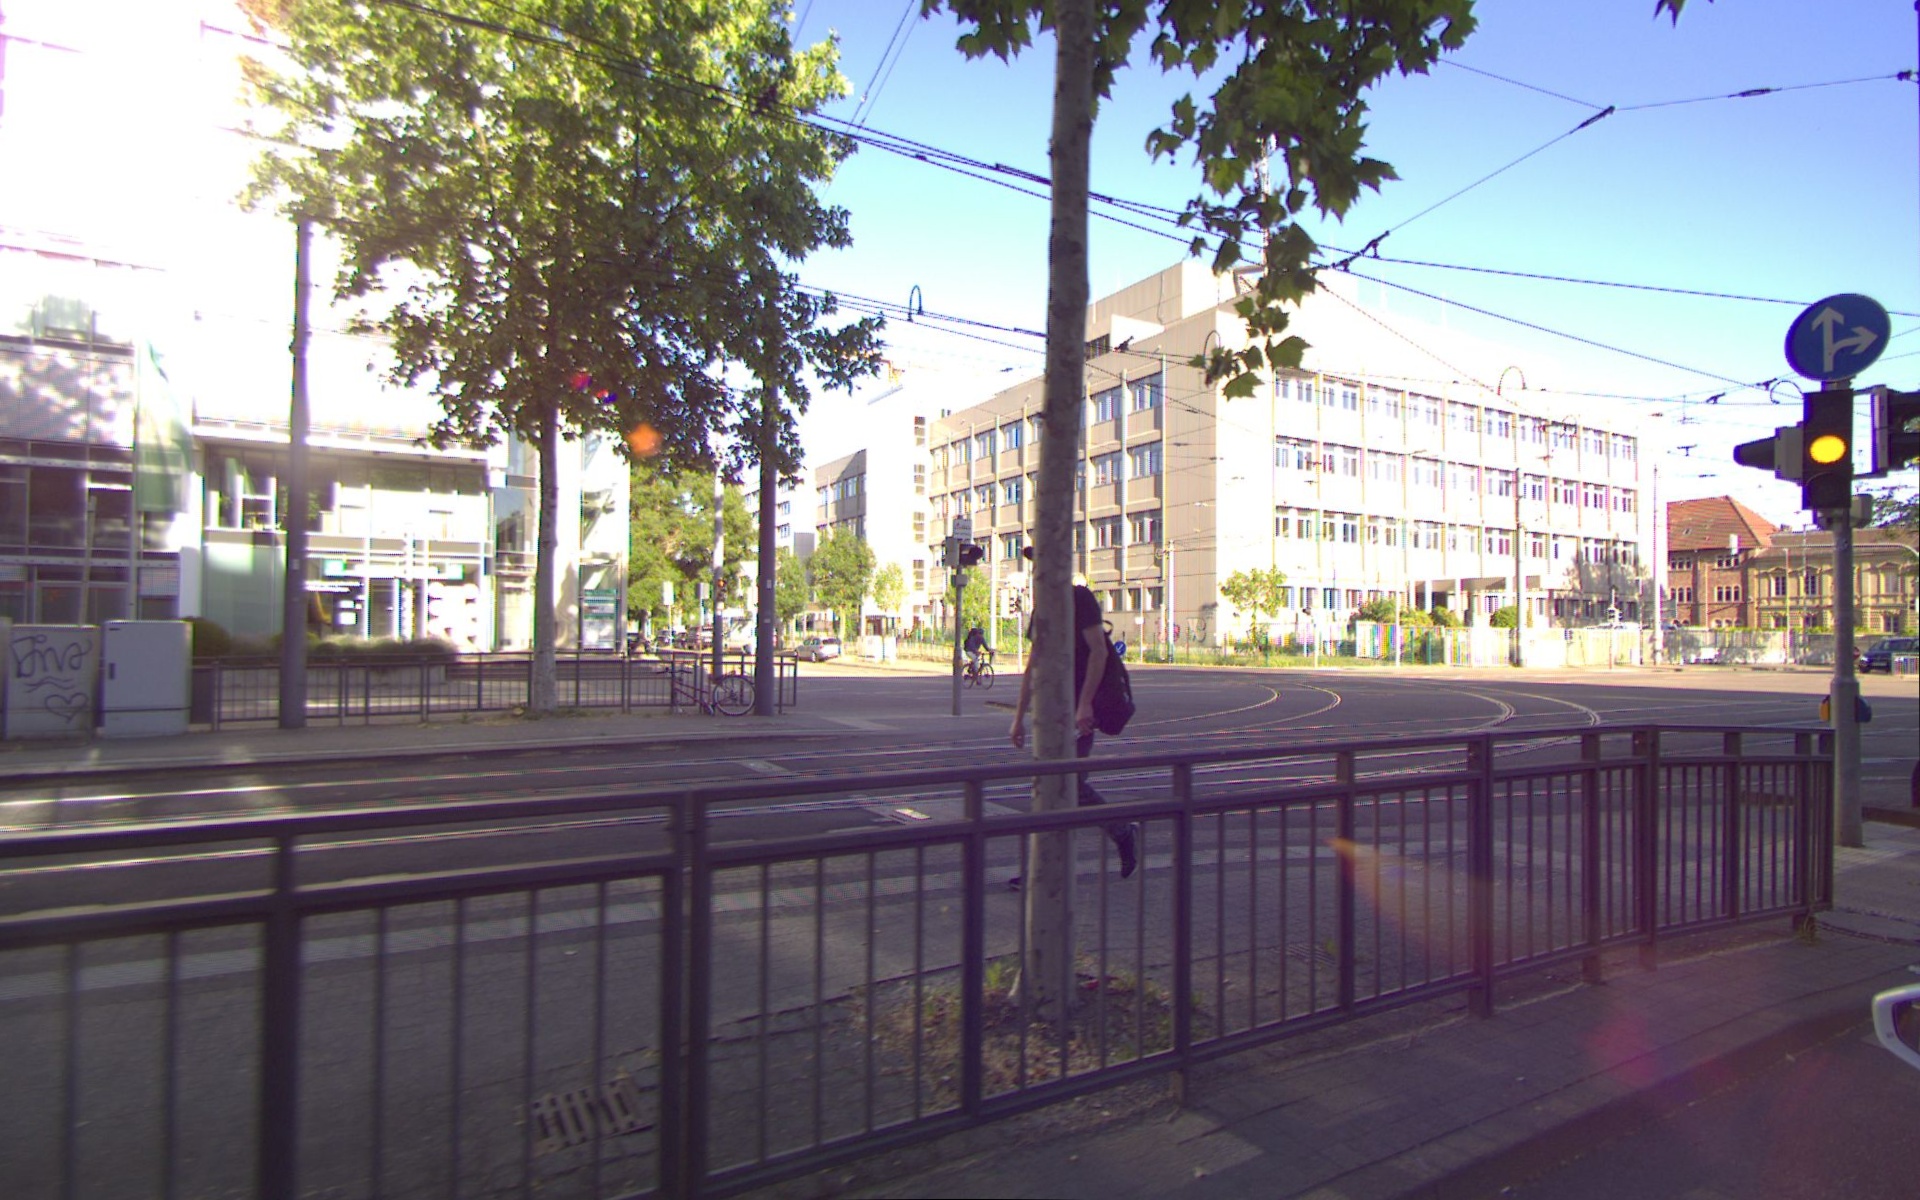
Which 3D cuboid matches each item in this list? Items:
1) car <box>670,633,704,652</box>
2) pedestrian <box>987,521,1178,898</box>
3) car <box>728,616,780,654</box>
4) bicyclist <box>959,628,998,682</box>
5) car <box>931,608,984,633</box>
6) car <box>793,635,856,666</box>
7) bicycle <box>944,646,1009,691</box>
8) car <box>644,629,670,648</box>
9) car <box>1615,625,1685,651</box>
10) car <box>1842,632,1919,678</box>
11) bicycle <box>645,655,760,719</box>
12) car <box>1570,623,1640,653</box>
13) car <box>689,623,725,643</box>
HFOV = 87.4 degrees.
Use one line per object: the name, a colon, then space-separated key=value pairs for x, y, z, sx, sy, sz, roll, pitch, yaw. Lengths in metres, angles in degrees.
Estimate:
car: x=-23.519 y=3.624 z=86.340 sx=1.735 sy=1.579 sz=3.915 roll=2 pitch=-2 yaw=-33
pedestrian: x=0.620 y=0.524 z=5.200 sx=0.702 sy=1.770 sz=0.732 roll=1 pitch=-1 yaw=-25
car: x=-14.414 y=2.438 z=70.071 sx=2.159 sy=2.538 sz=4.362 roll=2 pitch=-2 yaw=-32
bicyclist: x=0.529 y=1.562 z=28.955 sx=0.870 sy=1.514 sz=0.719 roll=0 pitch=-2 yaw=44
car: x=-0.210 y=1.732 z=83.744 sx=3.953 sy=2.040 sz=1.984 roll=1 pitch=-2 yaw=-31
car: x=-7.956 y=2.945 z=58.800 sx=2.089 sy=1.720 sz=3.930 roll=2 pitch=-2 yaw=-36
bicycle: x=0.453 y=1.960 z=29.019 sx=2.015 sy=1.205 sz=0.587 roll=0 pitch=-2 yaw=44
car: x=-32.498 y=4.106 z=107.630 sx=1.974 sy=2.040 sz=3.974 roll=1 pitch=-2 yaw=-26
car: x=46.699 y=2.588 z=67.971 sx=4.319 sy=1.725 sz=1.988 roll=1 pitch=-2 yaw=-26
car: x=42.277 y=2.458 z=45.374 sx=4.362 sy=1.973 sz=1.989 roll=1 pitch=-2 yaw=-24
bicycle: x=-4.177 y=1.389 z=16.303 sx=1.702 sy=0.958 sz=0.811 roll=1 pitch=-2 yaw=-24
car: x=45.396 y=2.671 z=70.643 sx=4.661 sy=2.040 sz=1.988 roll=1 pitch=-2 yaw=-26
car: x=-20.631 y=2.687 z=81.887 sx=1.735 sy=1.579 sz=3.916 roll=2 pitch=-2 yaw=-32
